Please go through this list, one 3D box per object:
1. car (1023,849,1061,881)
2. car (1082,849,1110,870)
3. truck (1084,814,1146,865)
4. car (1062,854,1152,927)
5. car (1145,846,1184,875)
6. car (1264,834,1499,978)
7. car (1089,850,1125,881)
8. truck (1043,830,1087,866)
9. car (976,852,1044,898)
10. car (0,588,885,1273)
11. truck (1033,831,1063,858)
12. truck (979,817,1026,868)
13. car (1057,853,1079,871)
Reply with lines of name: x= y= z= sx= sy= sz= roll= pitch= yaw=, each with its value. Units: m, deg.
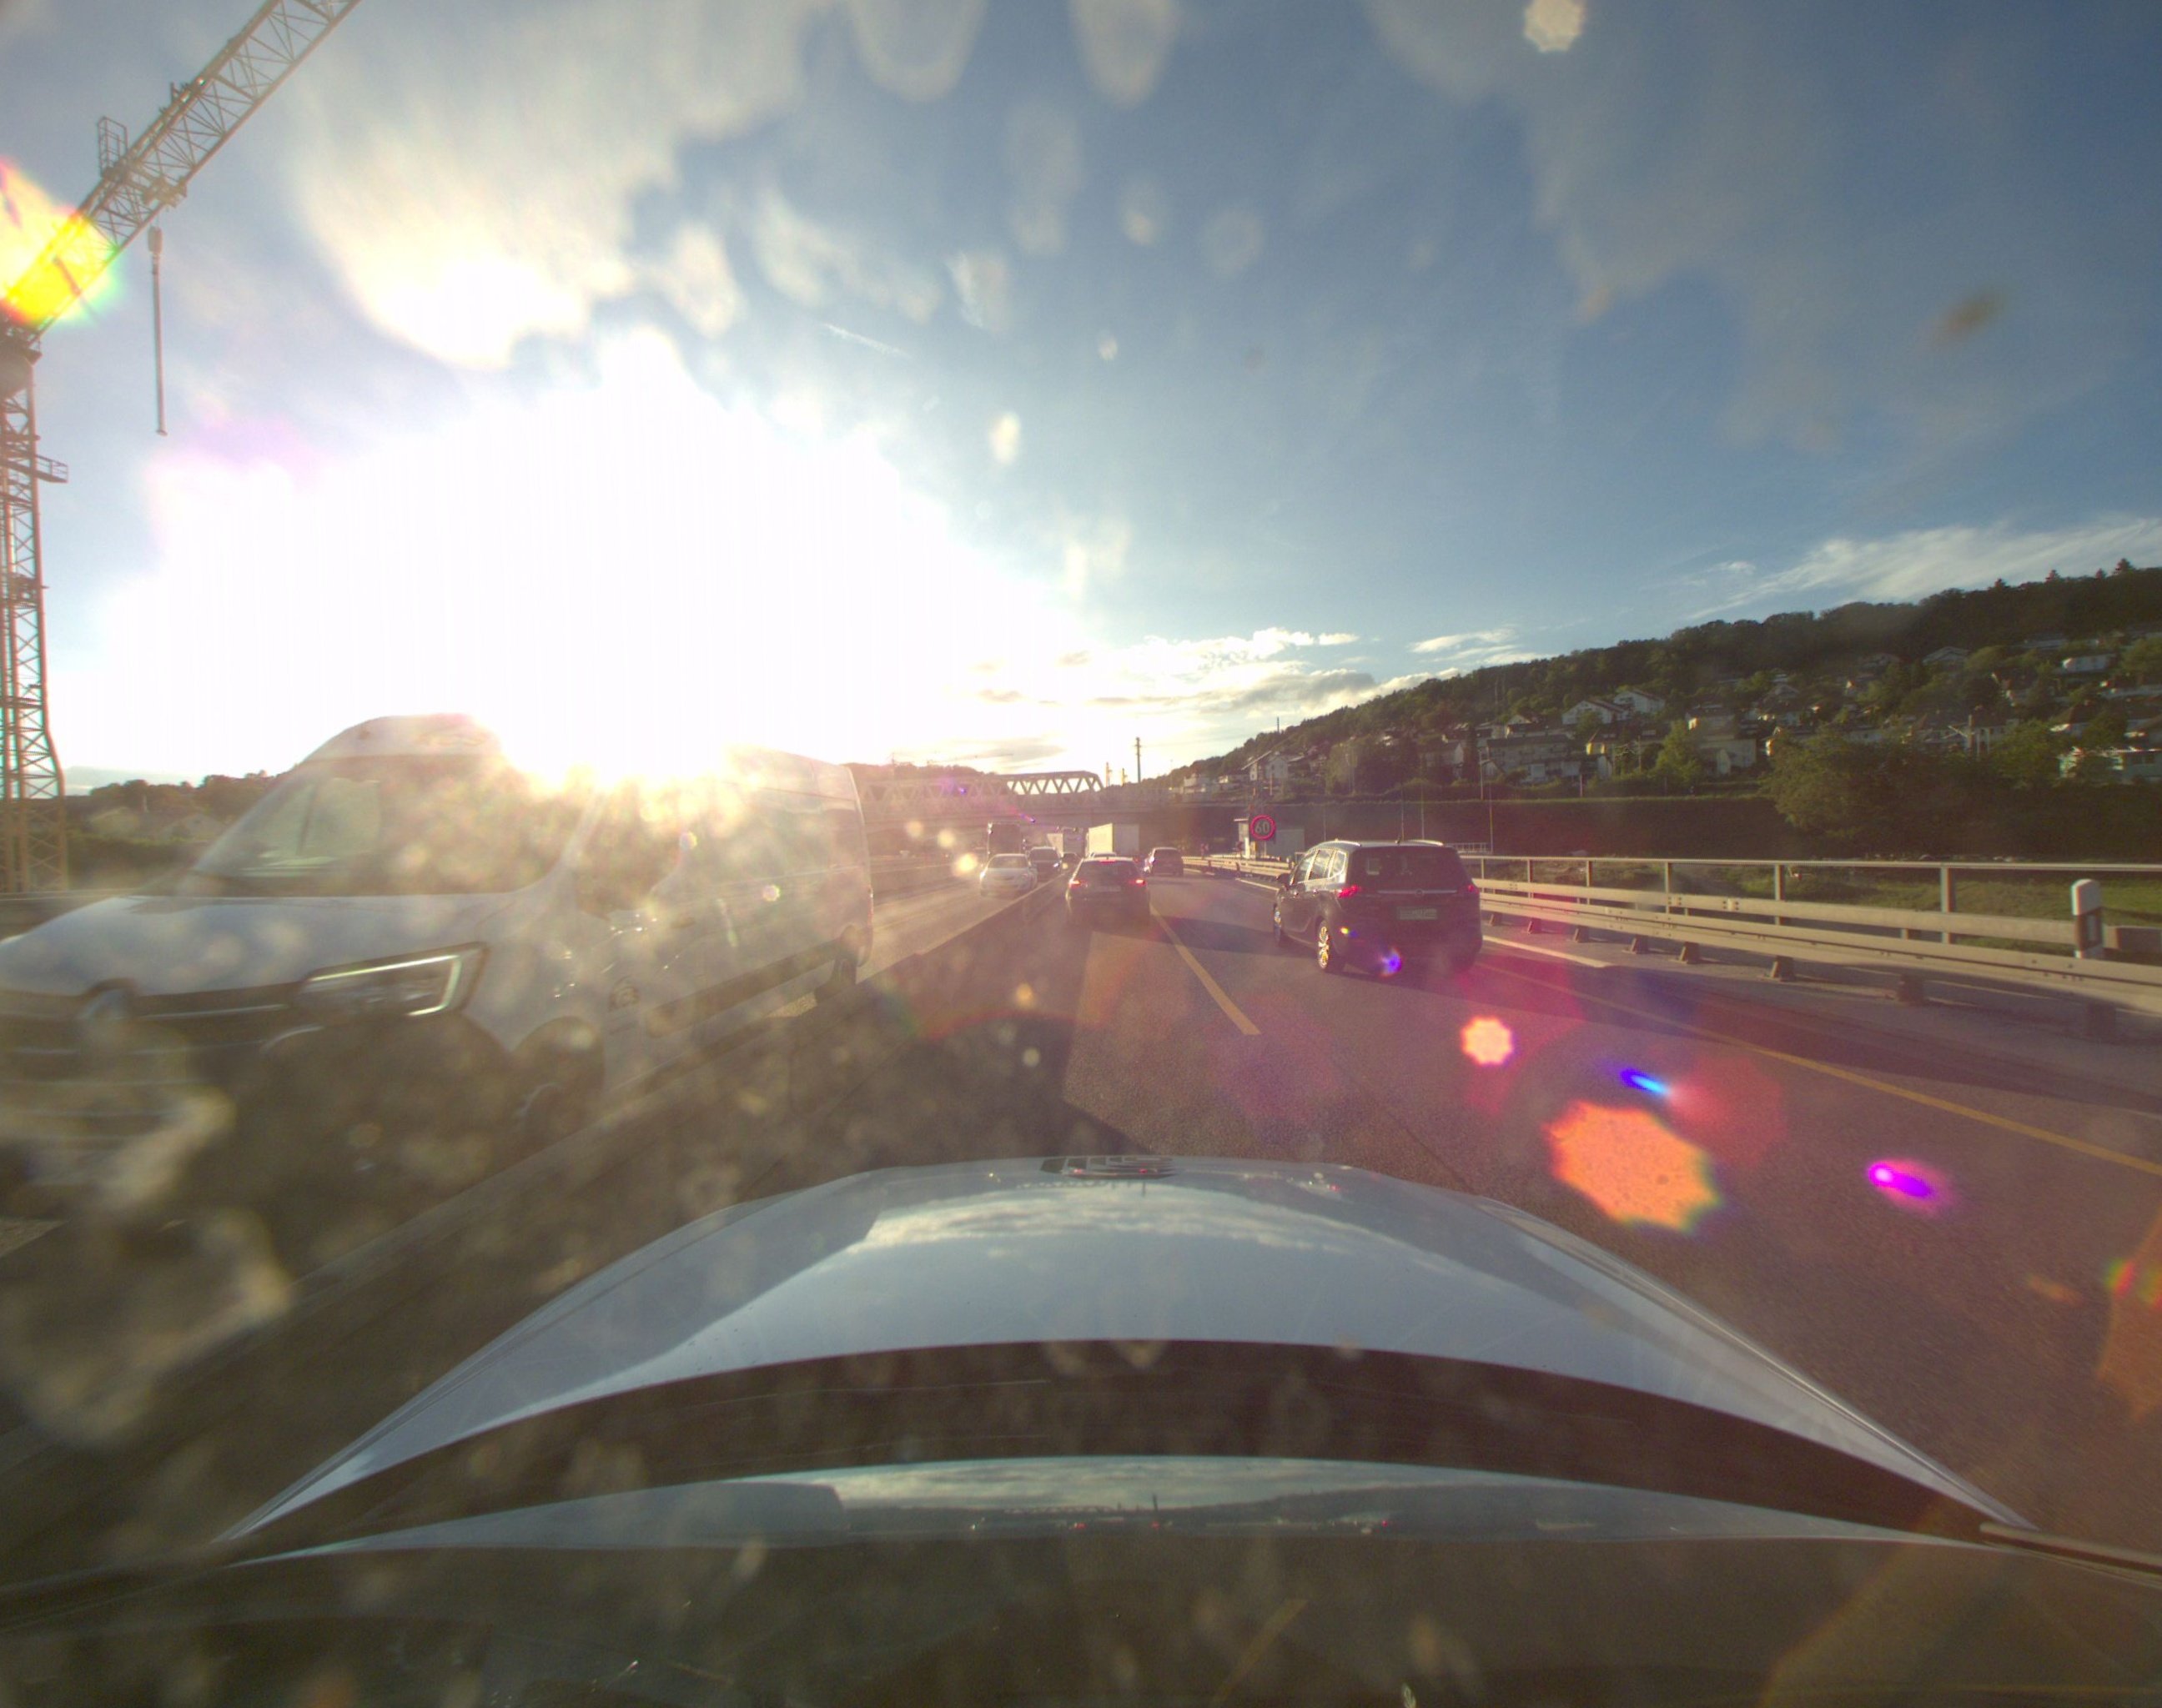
car: x=-1.985 y=0.525 z=42.366 sx=1.787 sy=1.540 sz=4.365 roll=-1 pitch=0 yaw=-1
car: x=1.135 y=0.398 z=62.165 sx=1.762 sy=1.486 sz=3.993 roll=0 pitch=0 yaw=-5
truck: x=3.080 y=-1.304 z=80.668 sx=3.384 sy=4.498 sz=15.221 roll=0 pitch=0 yaw=-8
car: x=0.545 y=0.717 z=18.044 sx=1.764 sy=1.390 sz=4.001 roll=-1 pitch=0 yaw=1
car: x=4.772 y=0.354 z=46.886 sx=1.765 sy=1.552 sz=3.998 roll=1 pitch=0 yaw=-1
car: x=3.913 y=0.584 z=11.459 sx=1.807 sy=1.632 sz=4.413 roll=0 pitch=0 yaw=2
car: x=1.291 y=0.571 z=41.876 sx=1.759 sy=1.486 sz=4.000 roll=0 pitch=0 yaw=0
truck: x=-2.372 y=-0.757 z=110.794 sx=3.889 sy=4.498 sz=15.219 roll=0 pitch=0 yaw=-9
car: x=-2.489 y=0.697 z=29.587 sx=1.915 sy=1.497 sz=4.370 roll=-1 pitch=0 yaw=2
car: x=-3.323 y=0.260 z=6.060 sx=2.066 sy=2.458 sz=6.268 roll=0 pitch=0 yaw=1
truck: x=-6.046 y=-1.766 z=146.168 sx=3.889 sy=4.497 sz=13.807 roll=0 pitch=1 yaw=-9
truck: x=-6.344 y=-0.926 z=67.327 sx=2.922 sy=3.890 sz=10.261 roll=0 pitch=0 yaw=0
car: x=-1.291 y=0.761 z=81.670 sx=1.698 sy=1.732 sz=3.988 roll=0 pitch=0 yaw=-8
